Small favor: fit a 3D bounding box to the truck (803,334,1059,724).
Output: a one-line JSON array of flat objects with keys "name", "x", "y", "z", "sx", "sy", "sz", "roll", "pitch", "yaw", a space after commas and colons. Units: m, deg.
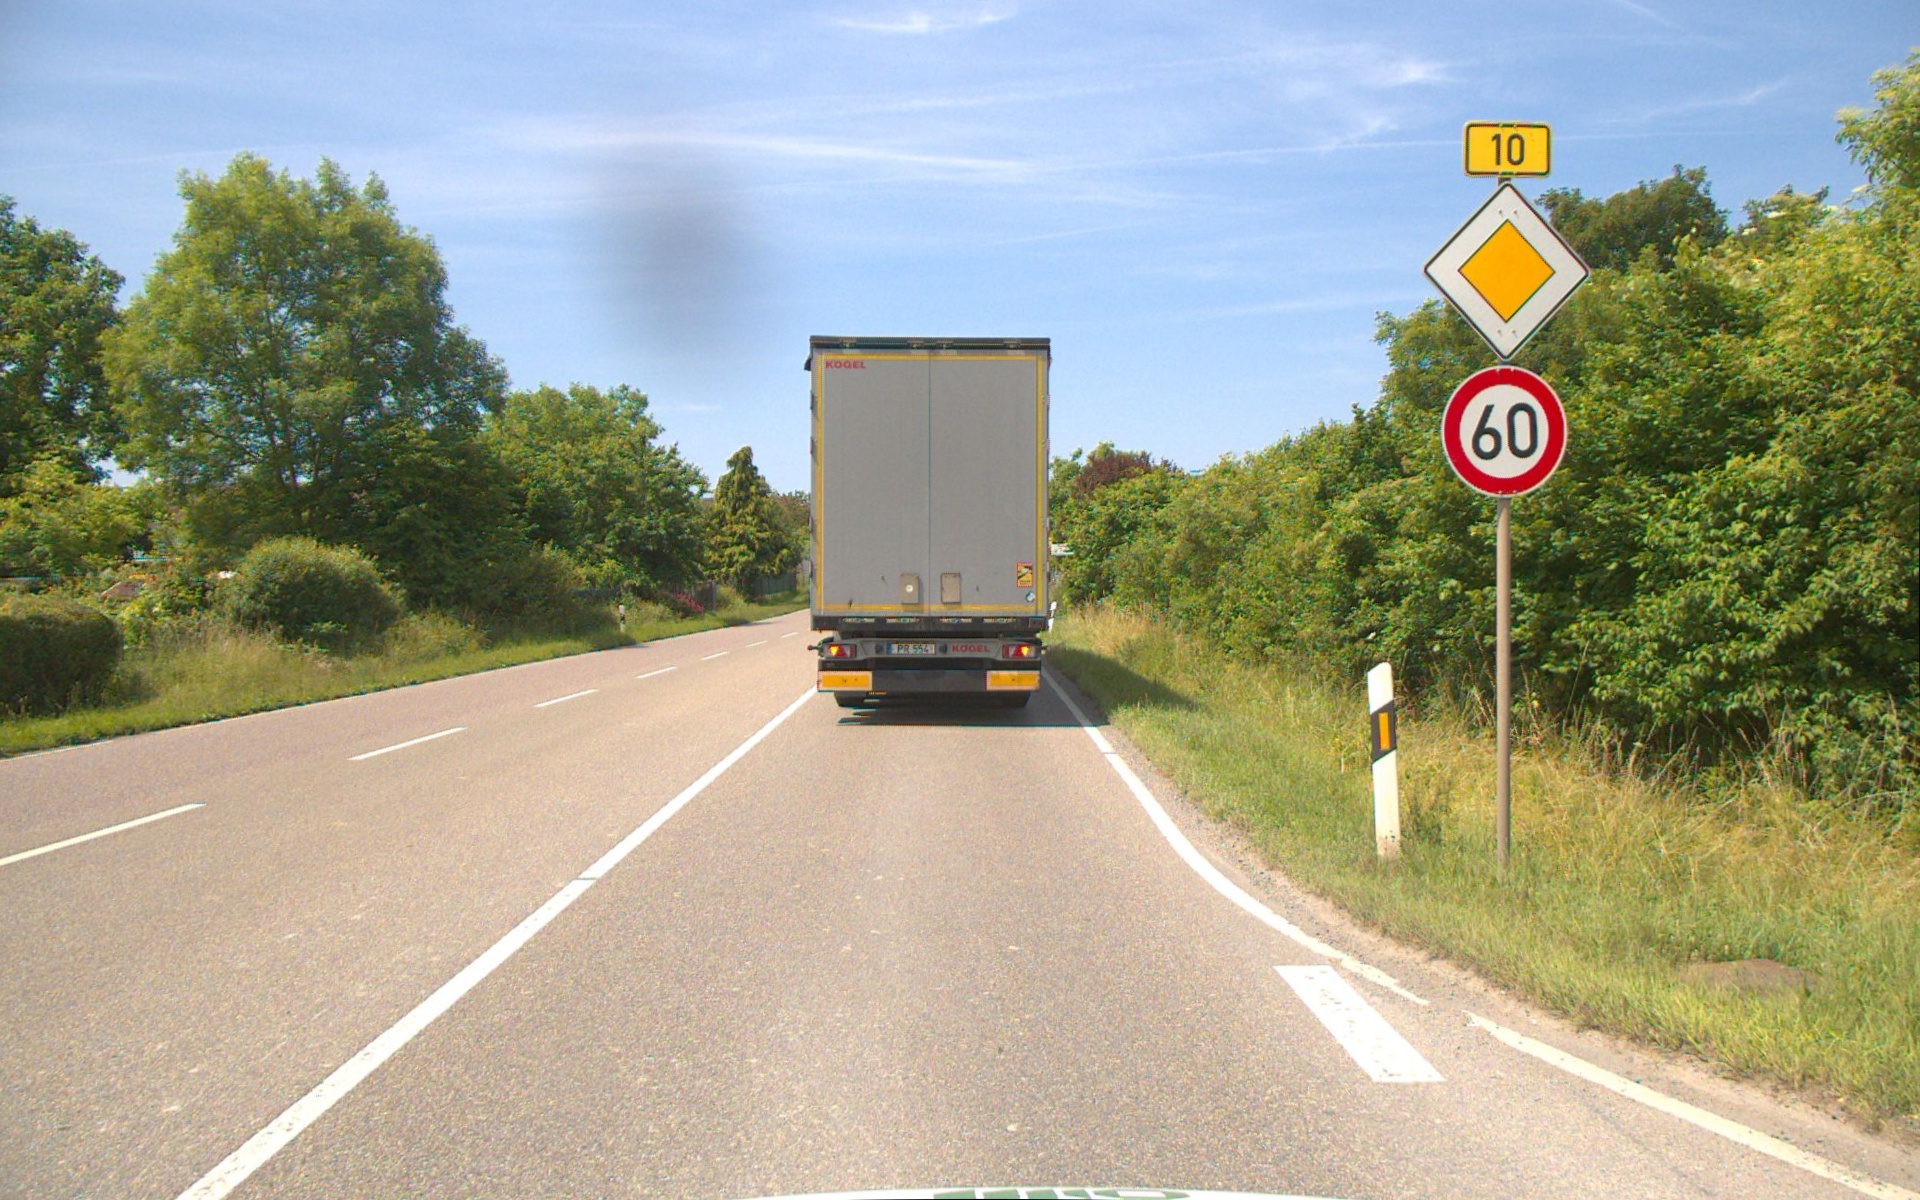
[{"name": "truck", "x": -0.389, "y": -0.781, "z": 21.510, "sx": 2.594, "sy": 3.985, "sz": 8.823, "roll": 1, "pitch": 1, "yaw": -1}]
